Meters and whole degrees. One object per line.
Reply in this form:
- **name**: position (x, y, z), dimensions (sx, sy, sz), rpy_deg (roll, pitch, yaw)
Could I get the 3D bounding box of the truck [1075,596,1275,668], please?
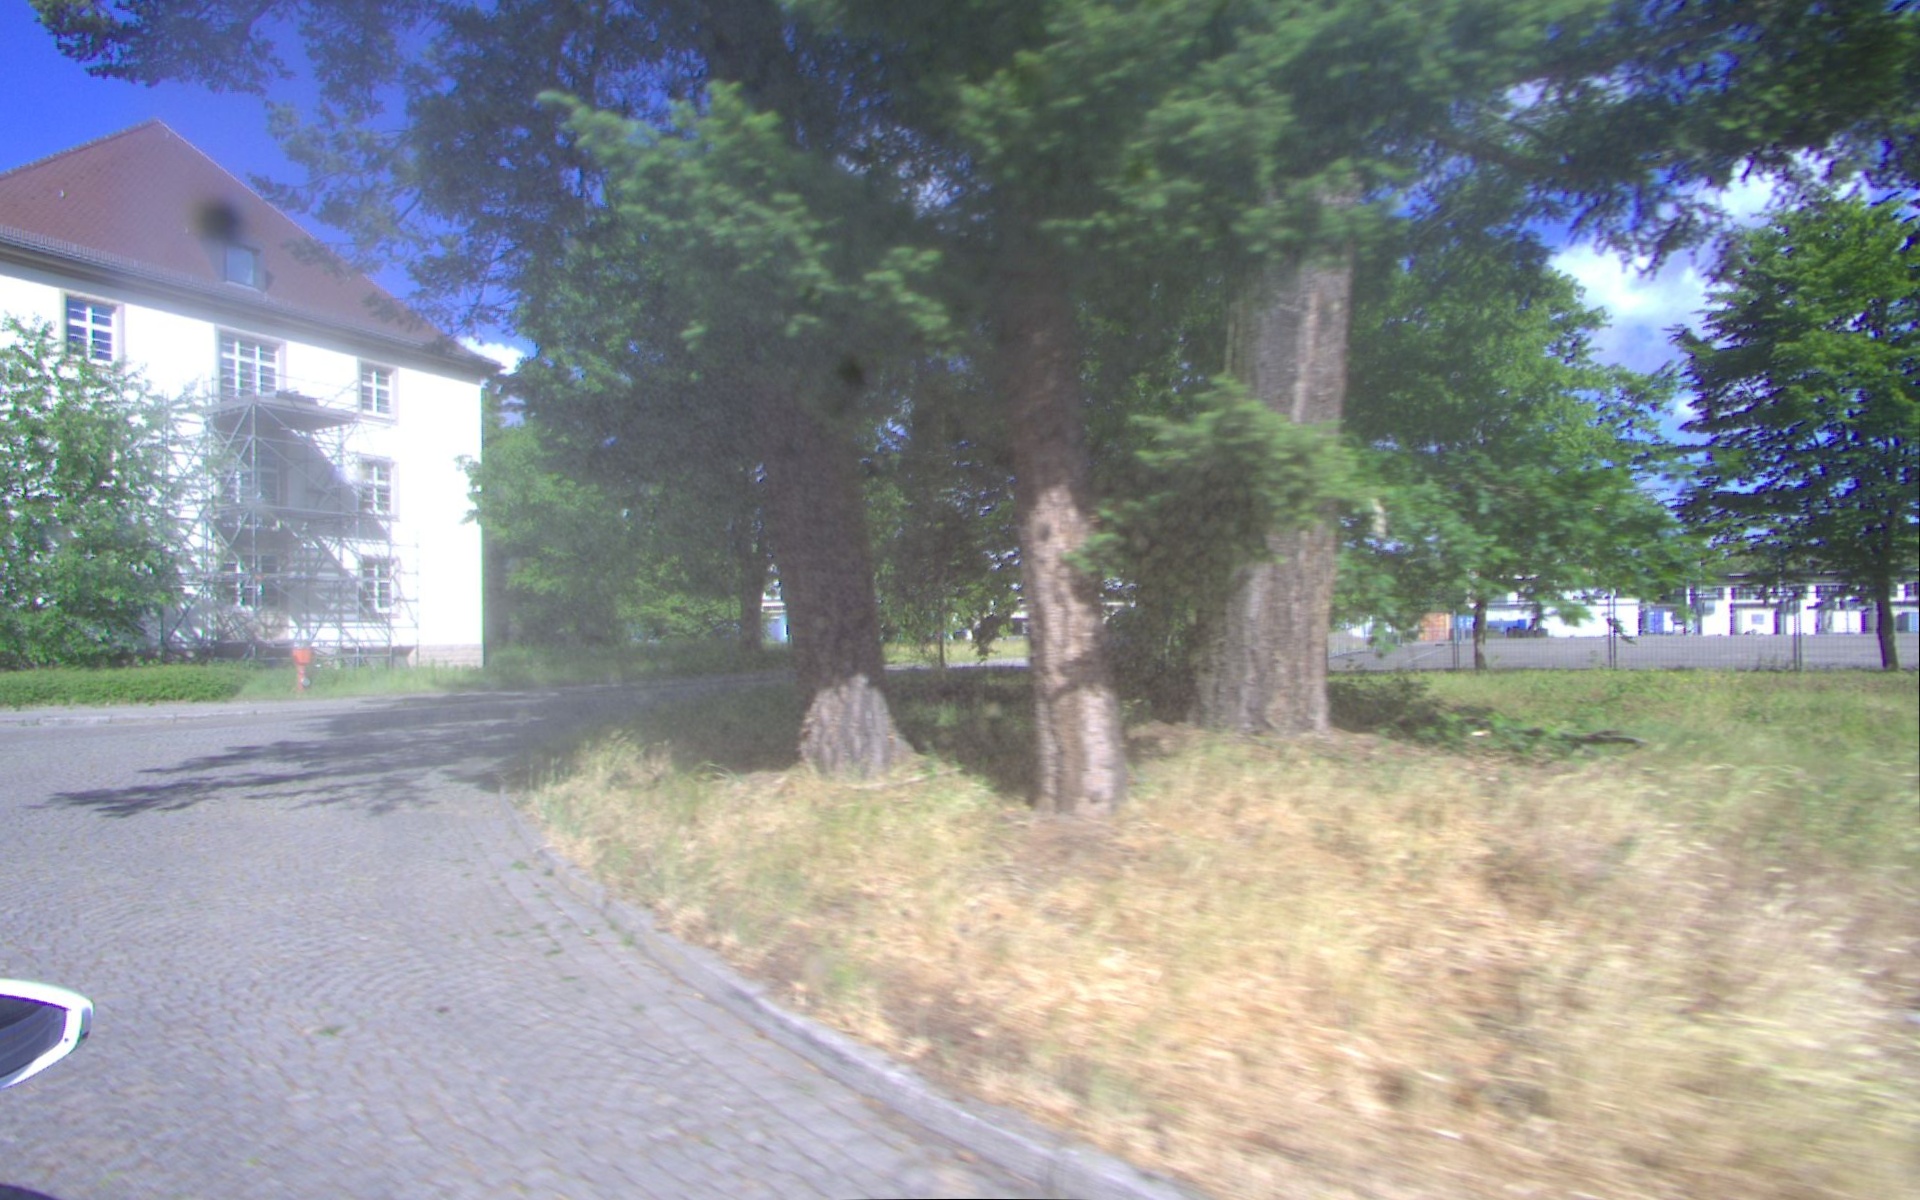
- **truck**: position (7.768, 1.208, 36.448), dimensions (6.781, 2.454, 2.232), rpy_deg (-1, -3, 29)
